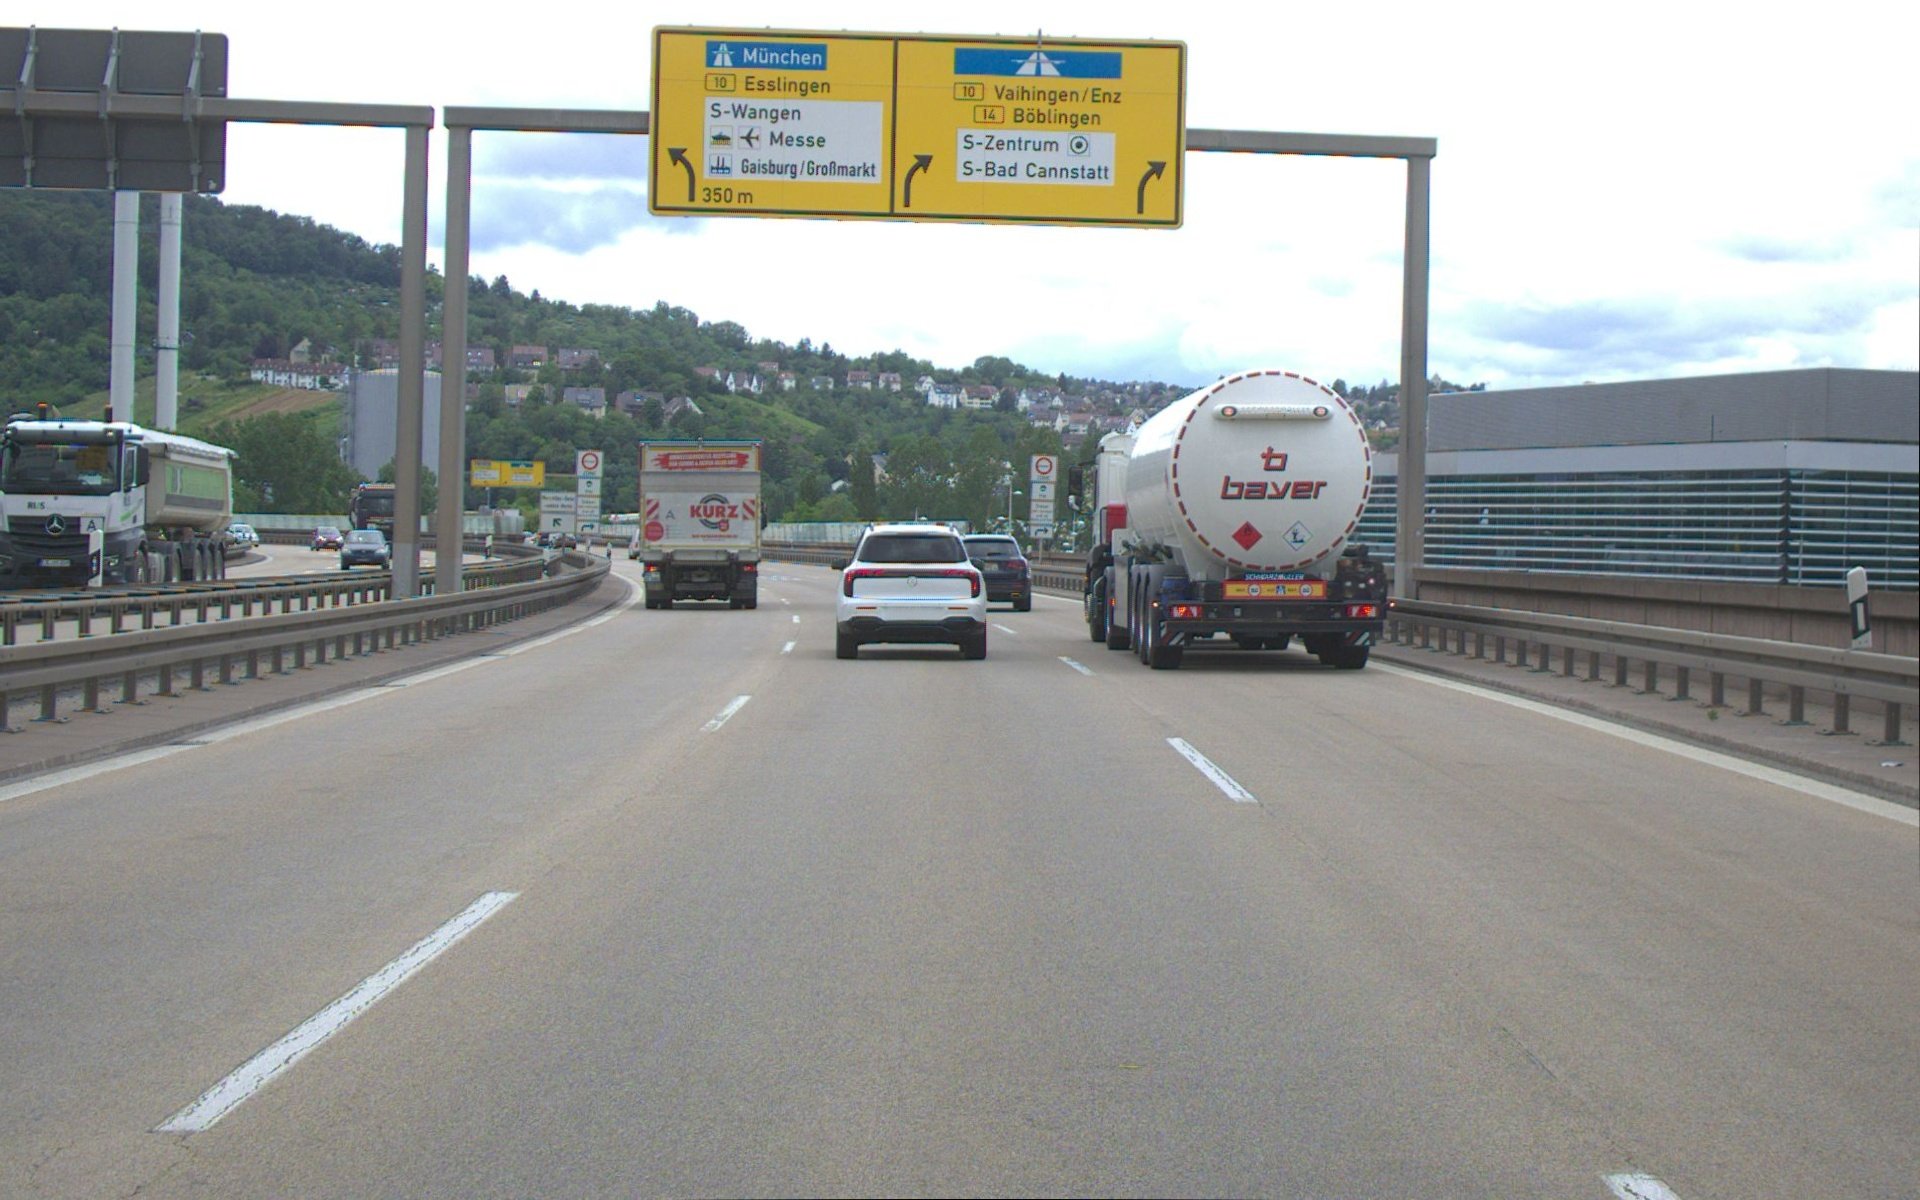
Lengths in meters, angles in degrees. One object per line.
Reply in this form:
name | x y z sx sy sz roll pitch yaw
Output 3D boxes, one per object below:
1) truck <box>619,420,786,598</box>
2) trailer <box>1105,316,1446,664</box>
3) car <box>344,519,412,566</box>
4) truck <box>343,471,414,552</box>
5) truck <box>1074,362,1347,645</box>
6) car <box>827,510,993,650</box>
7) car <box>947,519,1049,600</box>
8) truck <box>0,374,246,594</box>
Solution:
truck | -5.549 -1.940 75.489 3.057 3.678 8.304 0 1 0
trailer | 3.627 -1.246 41.720 3.057 3.777 8.304 0 1 -2
car | -21.305 -2.103 126.019 1.993 1.669 4.409 0 1 -4
truck | -28.527 -4.260 168.991 2.810 3.796 12.022 0 1 -7
truck | 3.349 -1.283 47.693 3.014 3.644 6.274 0 1 -3
car | -0.615 -0.263 43.737 1.993 1.669 4.408 0 1 0
car | 0.777 -0.862 73.188 1.993 1.669 4.408 0 1 -1
truck | -16.117 -2.069 65.292 3.056 3.763 12.520 0 1 -3
